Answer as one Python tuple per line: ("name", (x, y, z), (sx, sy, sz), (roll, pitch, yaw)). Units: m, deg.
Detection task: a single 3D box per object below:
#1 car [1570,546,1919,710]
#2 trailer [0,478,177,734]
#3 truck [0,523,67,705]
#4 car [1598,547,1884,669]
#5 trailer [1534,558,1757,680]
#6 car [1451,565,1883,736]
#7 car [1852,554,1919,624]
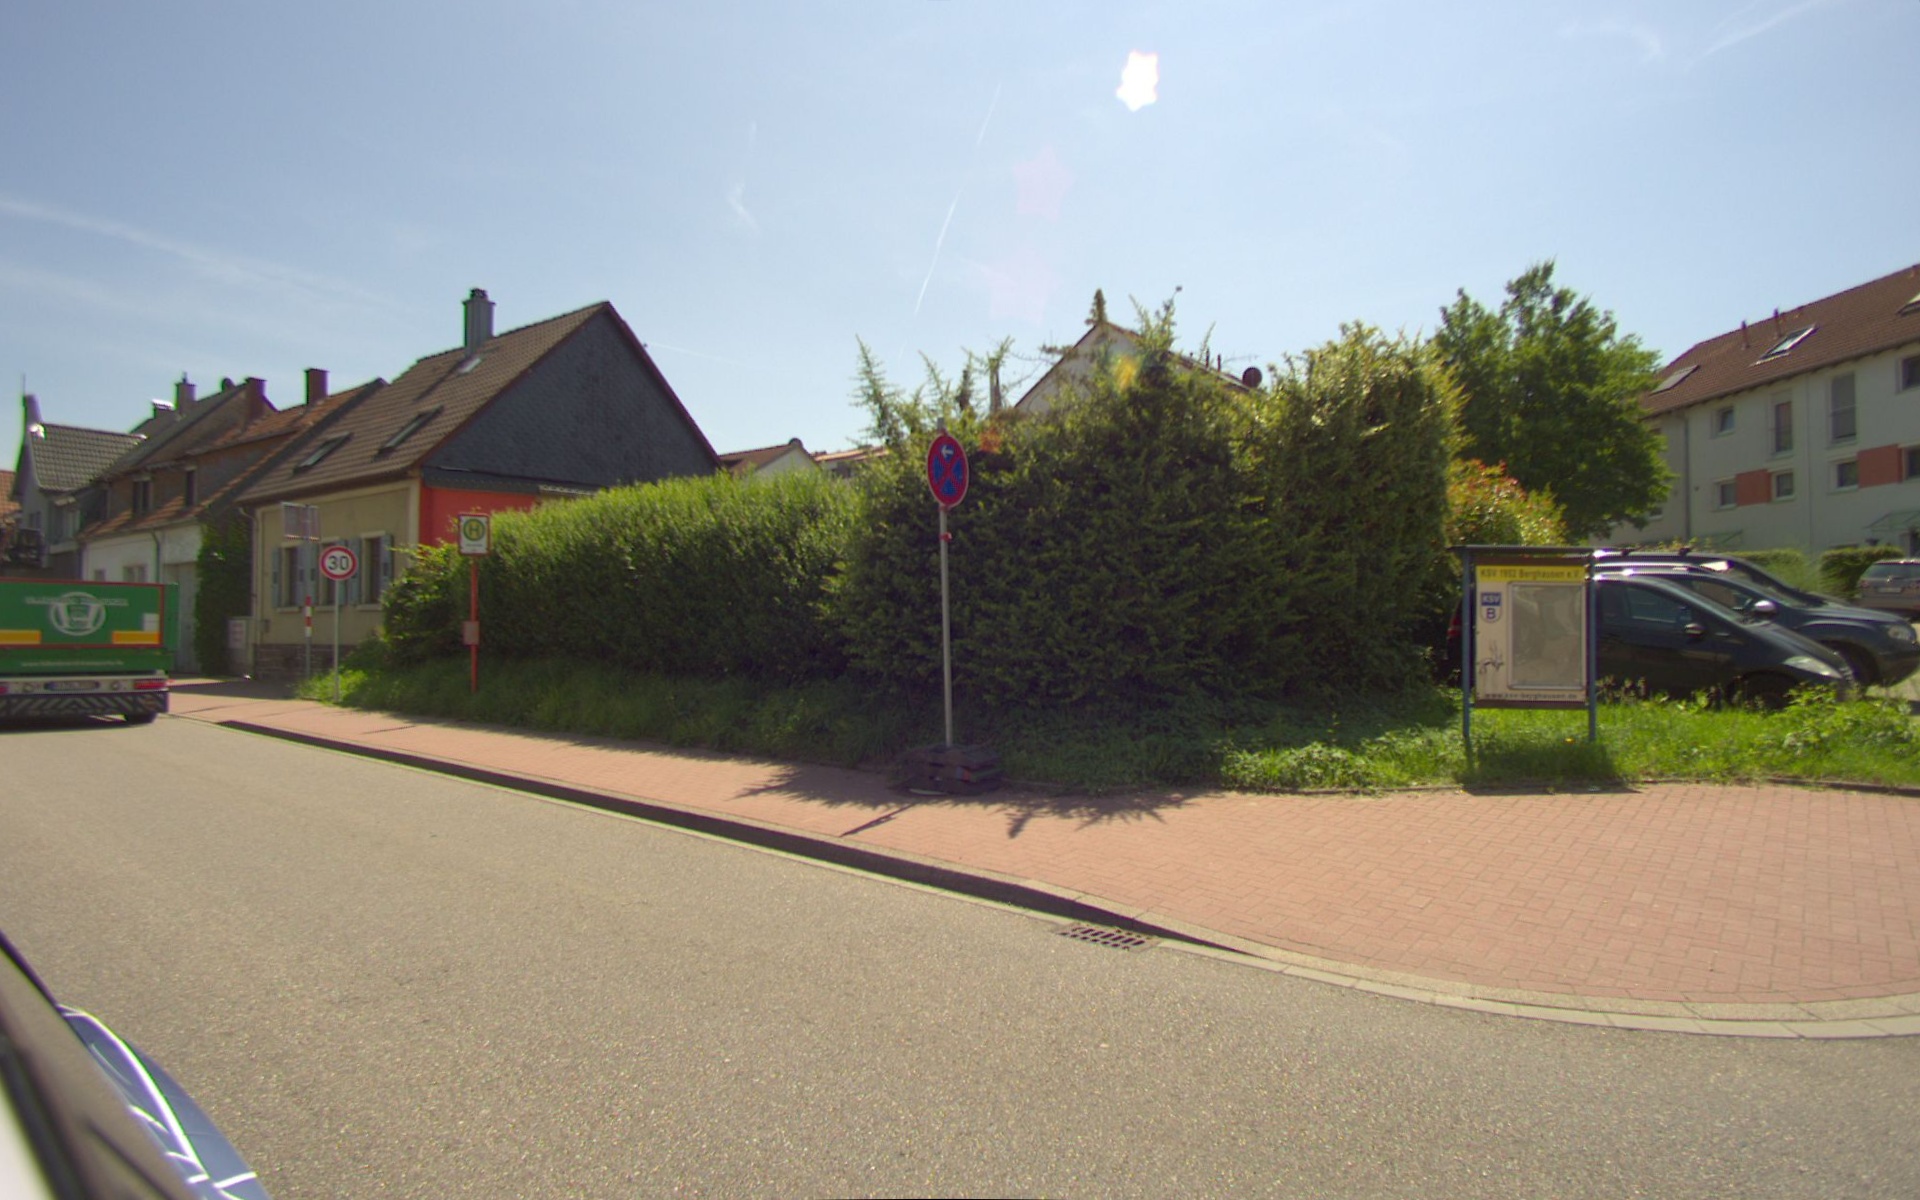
("car", (9.890, 0.306, 12.714), (3.512, 1.793, 1.605), (-1, 1, 44))
("trailer", (-16.535, 0.211, 17.853), (8.454, 3.677, 2.504), (-2, -3, 40))
("truck", (-23.754, 0.387, 23.704), (10.067, 3.729, 2.541), (-2, -3, 39))
("car", (12.764, 0.122, 16.667), (3.552, 1.794, 1.605), (-1, 1, 44))
("trailer", (10.445, 0.270, 15.513), (2.688, 1.676, 1.413), (-2, 2, 37))
("car", (7.599, 0.469, 11.087), (3.653, 1.552, 1.605), (-1, 1, 44))
("car", (24.091, -0.310, 25.252), (3.933, 1.635, 1.754), (-2, 1, -33))
